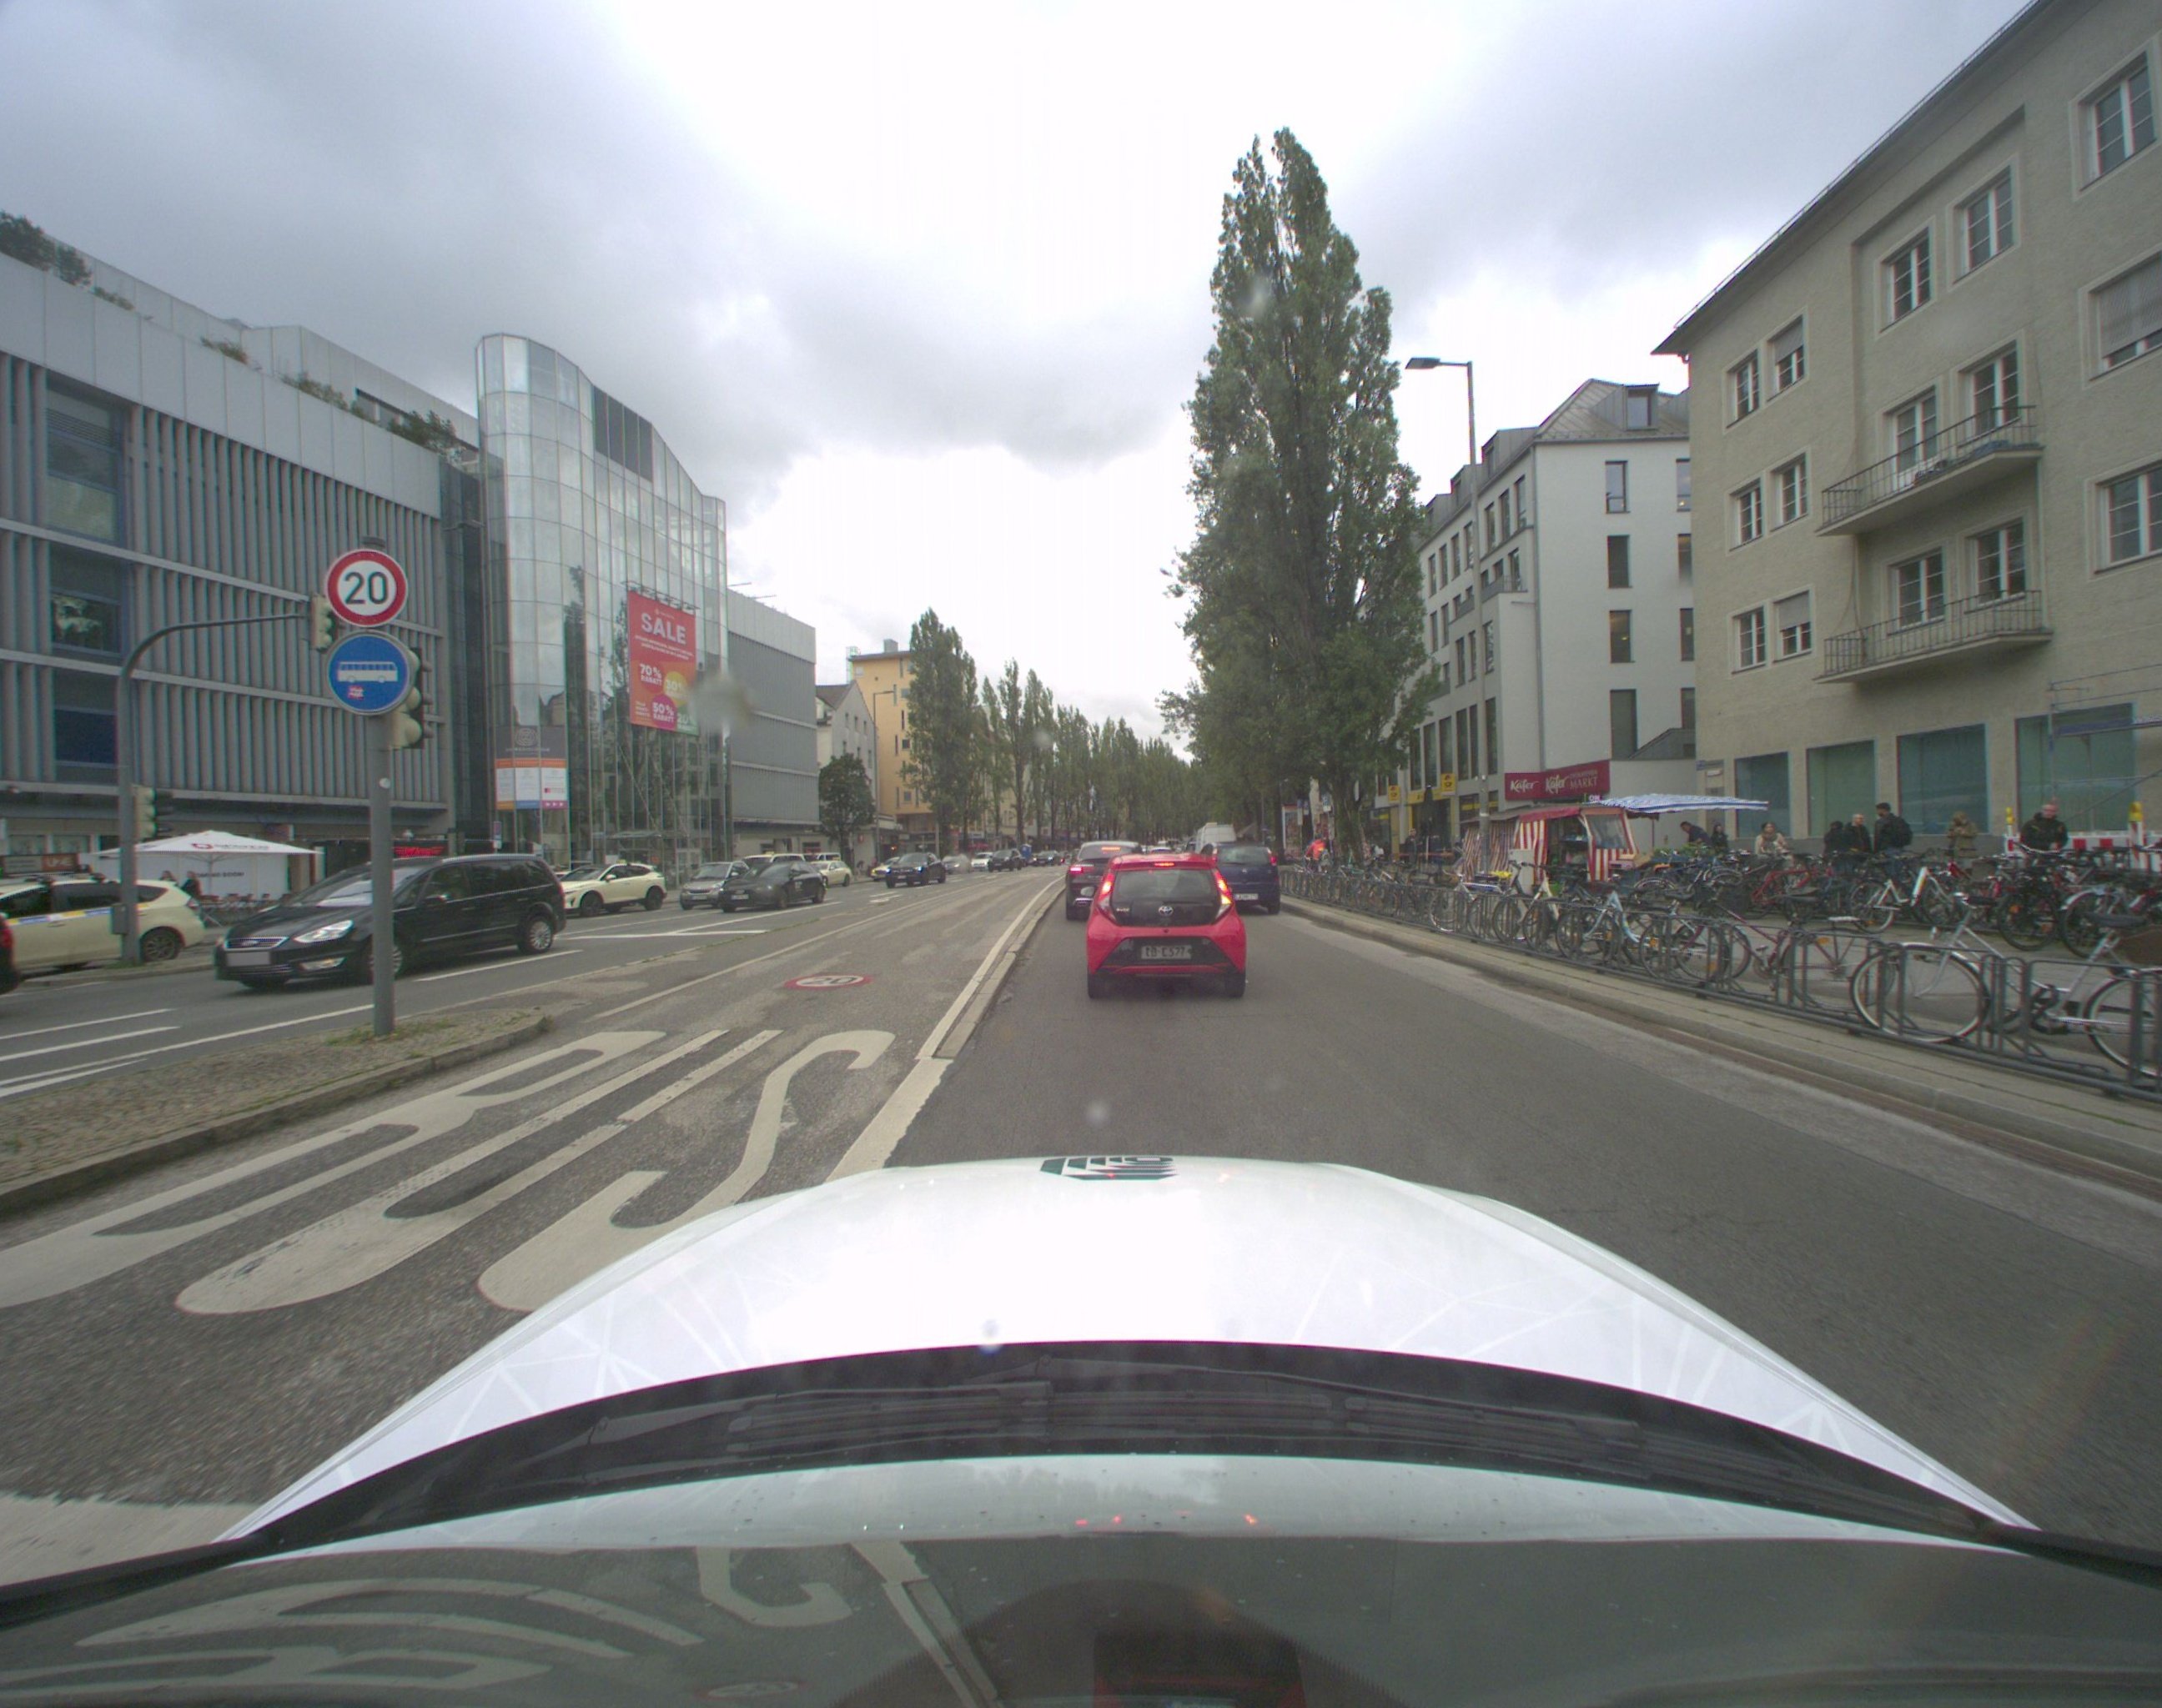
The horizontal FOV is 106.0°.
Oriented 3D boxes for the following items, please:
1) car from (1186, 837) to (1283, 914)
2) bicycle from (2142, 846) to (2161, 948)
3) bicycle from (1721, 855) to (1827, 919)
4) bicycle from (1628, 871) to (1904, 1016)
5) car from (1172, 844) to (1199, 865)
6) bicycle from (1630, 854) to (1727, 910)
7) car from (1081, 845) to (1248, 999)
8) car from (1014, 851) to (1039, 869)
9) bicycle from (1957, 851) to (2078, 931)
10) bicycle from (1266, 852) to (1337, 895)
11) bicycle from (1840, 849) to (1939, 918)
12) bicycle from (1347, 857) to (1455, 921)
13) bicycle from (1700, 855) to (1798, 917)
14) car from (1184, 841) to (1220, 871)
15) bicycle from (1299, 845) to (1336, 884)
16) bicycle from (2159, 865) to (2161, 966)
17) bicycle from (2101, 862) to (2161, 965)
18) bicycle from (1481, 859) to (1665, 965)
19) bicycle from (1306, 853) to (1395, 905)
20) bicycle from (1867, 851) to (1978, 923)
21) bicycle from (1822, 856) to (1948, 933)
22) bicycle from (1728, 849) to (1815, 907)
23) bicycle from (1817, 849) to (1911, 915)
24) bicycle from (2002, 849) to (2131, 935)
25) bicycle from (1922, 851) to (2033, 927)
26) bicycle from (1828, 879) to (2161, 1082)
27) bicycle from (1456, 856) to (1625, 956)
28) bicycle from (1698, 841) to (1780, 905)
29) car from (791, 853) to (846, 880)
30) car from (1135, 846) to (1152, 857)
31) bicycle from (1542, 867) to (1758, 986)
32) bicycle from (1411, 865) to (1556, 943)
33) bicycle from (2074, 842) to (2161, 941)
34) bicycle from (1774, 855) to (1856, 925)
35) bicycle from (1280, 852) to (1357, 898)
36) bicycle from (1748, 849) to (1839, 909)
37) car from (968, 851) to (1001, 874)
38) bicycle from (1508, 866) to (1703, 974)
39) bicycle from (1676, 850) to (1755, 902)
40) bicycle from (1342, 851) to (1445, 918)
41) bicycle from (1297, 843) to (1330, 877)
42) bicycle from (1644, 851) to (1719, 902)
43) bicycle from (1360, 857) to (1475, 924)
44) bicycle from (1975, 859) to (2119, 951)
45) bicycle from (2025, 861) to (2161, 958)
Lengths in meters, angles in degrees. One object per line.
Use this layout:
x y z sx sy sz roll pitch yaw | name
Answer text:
3.497 0.440 19.107 1.696 1.589 3.558 -1 1 2 | car
12.160 0.439 8.685 1.326 1.075 0.368 -2 0 -6 | bicycle
11.041 0.527 12.994 1.253 0.963 0.370 -2 0 10 | bicycle
5.944 0.715 7.169 1.782 1.111 0.566 -1 0 43 | bicycle
7.809 0.039 61.143 1.696 1.529 3.557 -1 0 2 | car
10.966 0.516 14.968 1.424 0.963 0.370 -2 0 7 | bicycle
0.880 0.648 9.485 1.598 1.461 3.132 -1 1 2 | car
-5.613 0.587 84.888 1.846 1.816 4.008 0 0 7 | car
12.191 0.471 10.608 1.242 0.981 0.368 -2 0 -6 | bicycle
6.143 0.534 22.735 1.814 1.136 0.590 -1 0 37 | bicycle
12.345 0.442 12.442 1.243 0.981 0.368 -2 0 -8 | bicycle
6.107 0.649 15.609 1.815 1.136 0.590 -1 0 44 | bicycle
11.048 0.519 13.477 1.255 0.963 0.370 -2 0 4 | bicycle
7.273 0.100 49.309 1.696 1.662 3.557 -1 0 2 | car
8.144 0.329 28.116 0.611 1.265 2.521 -2 1 2 | bicycle
10.854 0.571 7.537 1.127 0.963 0.370 -2 0 7 | bicycle
10.849 0.568 7.977 1.127 0.963 0.370 -2 0 7 | bicycle
5.949 0.666 9.926 1.815 1.168 0.590 -1 0 44 | bicycle
6.115 0.562 18.537 1.814 1.136 0.590 -1 0 37 | bicycle
12.206 0.465 11.826 1.240 0.981 0.369 -2 0 -2 | bicycle
10.820 0.535 10.972 1.399 0.963 0.369 -2 0 -4 | bicycle
12.446 0.429 14.697 1.240 0.981 0.369 -2 0 -1 | bicycle
12.431 0.440 12.942 1.243 0.981 0.368 -2 0 -8 | bicycle
12.087 0.455 9.995 1.242 0.981 0.368 -2 0 -6 | bicycle
12.291 0.468 11.174 1.243 0.981 0.368 -2 0 -8 | bicycle
5.925 0.727 5.092 1.781 1.111 0.656 -1 0 38 | bicycle
5.997 0.643 10.708 1.815 1.197 0.590 -1 0 44 | bicycle
12.363 0.345 15.312 1.240 1.140 0.369 -2 0 -1 | bicycle
-18.629 0.868 57.978 1.858 1.772 4.254 -2 0 10 | car
9.993 -0.386 129.469 1.979 1.691 4.431 -2 0 14 | car
5.951 0.706 8.597 1.782 1.111 0.590 -1 0 44 | bicycle
5.949 0.706 12.117 1.815 1.052 0.590 -1 0 44 | bicycle
12.337 0.410 9.368 1.498 1.075 0.368 -2 0 -6 | bicycle
10.987 0.522 12.190 1.229 0.963 0.367 -2 0 -21 | bicycle
6.191 0.544 21.267 1.814 1.136 0.590 -1 0 37 | bicycle
12.340 0.432 14.122 1.240 0.981 0.369 -2 0 -1 | bicycle
-8.089 0.676 68.635 1.846 1.816 4.008 0 0 7 | car
5.913 0.701 9.263 1.782 1.111 0.494 -1 0 44 | bicycle
12.465 0.429 16.013 1.240 0.963 0.369 -2 0 -1 | bicycle
6.214 0.592 16.275 1.815 1.241 0.590 -1 0 44 | bicycle
9.095 0.215 31.957 0.611 1.265 2.521 -2 1 2 | bicycle
12.174 0.448 16.530 1.240 0.963 0.369 -2 0 -1 | bicycle
6.104 0.646 14.848 1.815 1.136 0.590 -1 0 44 | bicycle
10.867 0.562 9.171 1.177 0.963 0.369 -2 0 -1 | bicycle
10.858 0.585 8.627 1.175 0.963 0.370 -2 0 5 | bicycle
